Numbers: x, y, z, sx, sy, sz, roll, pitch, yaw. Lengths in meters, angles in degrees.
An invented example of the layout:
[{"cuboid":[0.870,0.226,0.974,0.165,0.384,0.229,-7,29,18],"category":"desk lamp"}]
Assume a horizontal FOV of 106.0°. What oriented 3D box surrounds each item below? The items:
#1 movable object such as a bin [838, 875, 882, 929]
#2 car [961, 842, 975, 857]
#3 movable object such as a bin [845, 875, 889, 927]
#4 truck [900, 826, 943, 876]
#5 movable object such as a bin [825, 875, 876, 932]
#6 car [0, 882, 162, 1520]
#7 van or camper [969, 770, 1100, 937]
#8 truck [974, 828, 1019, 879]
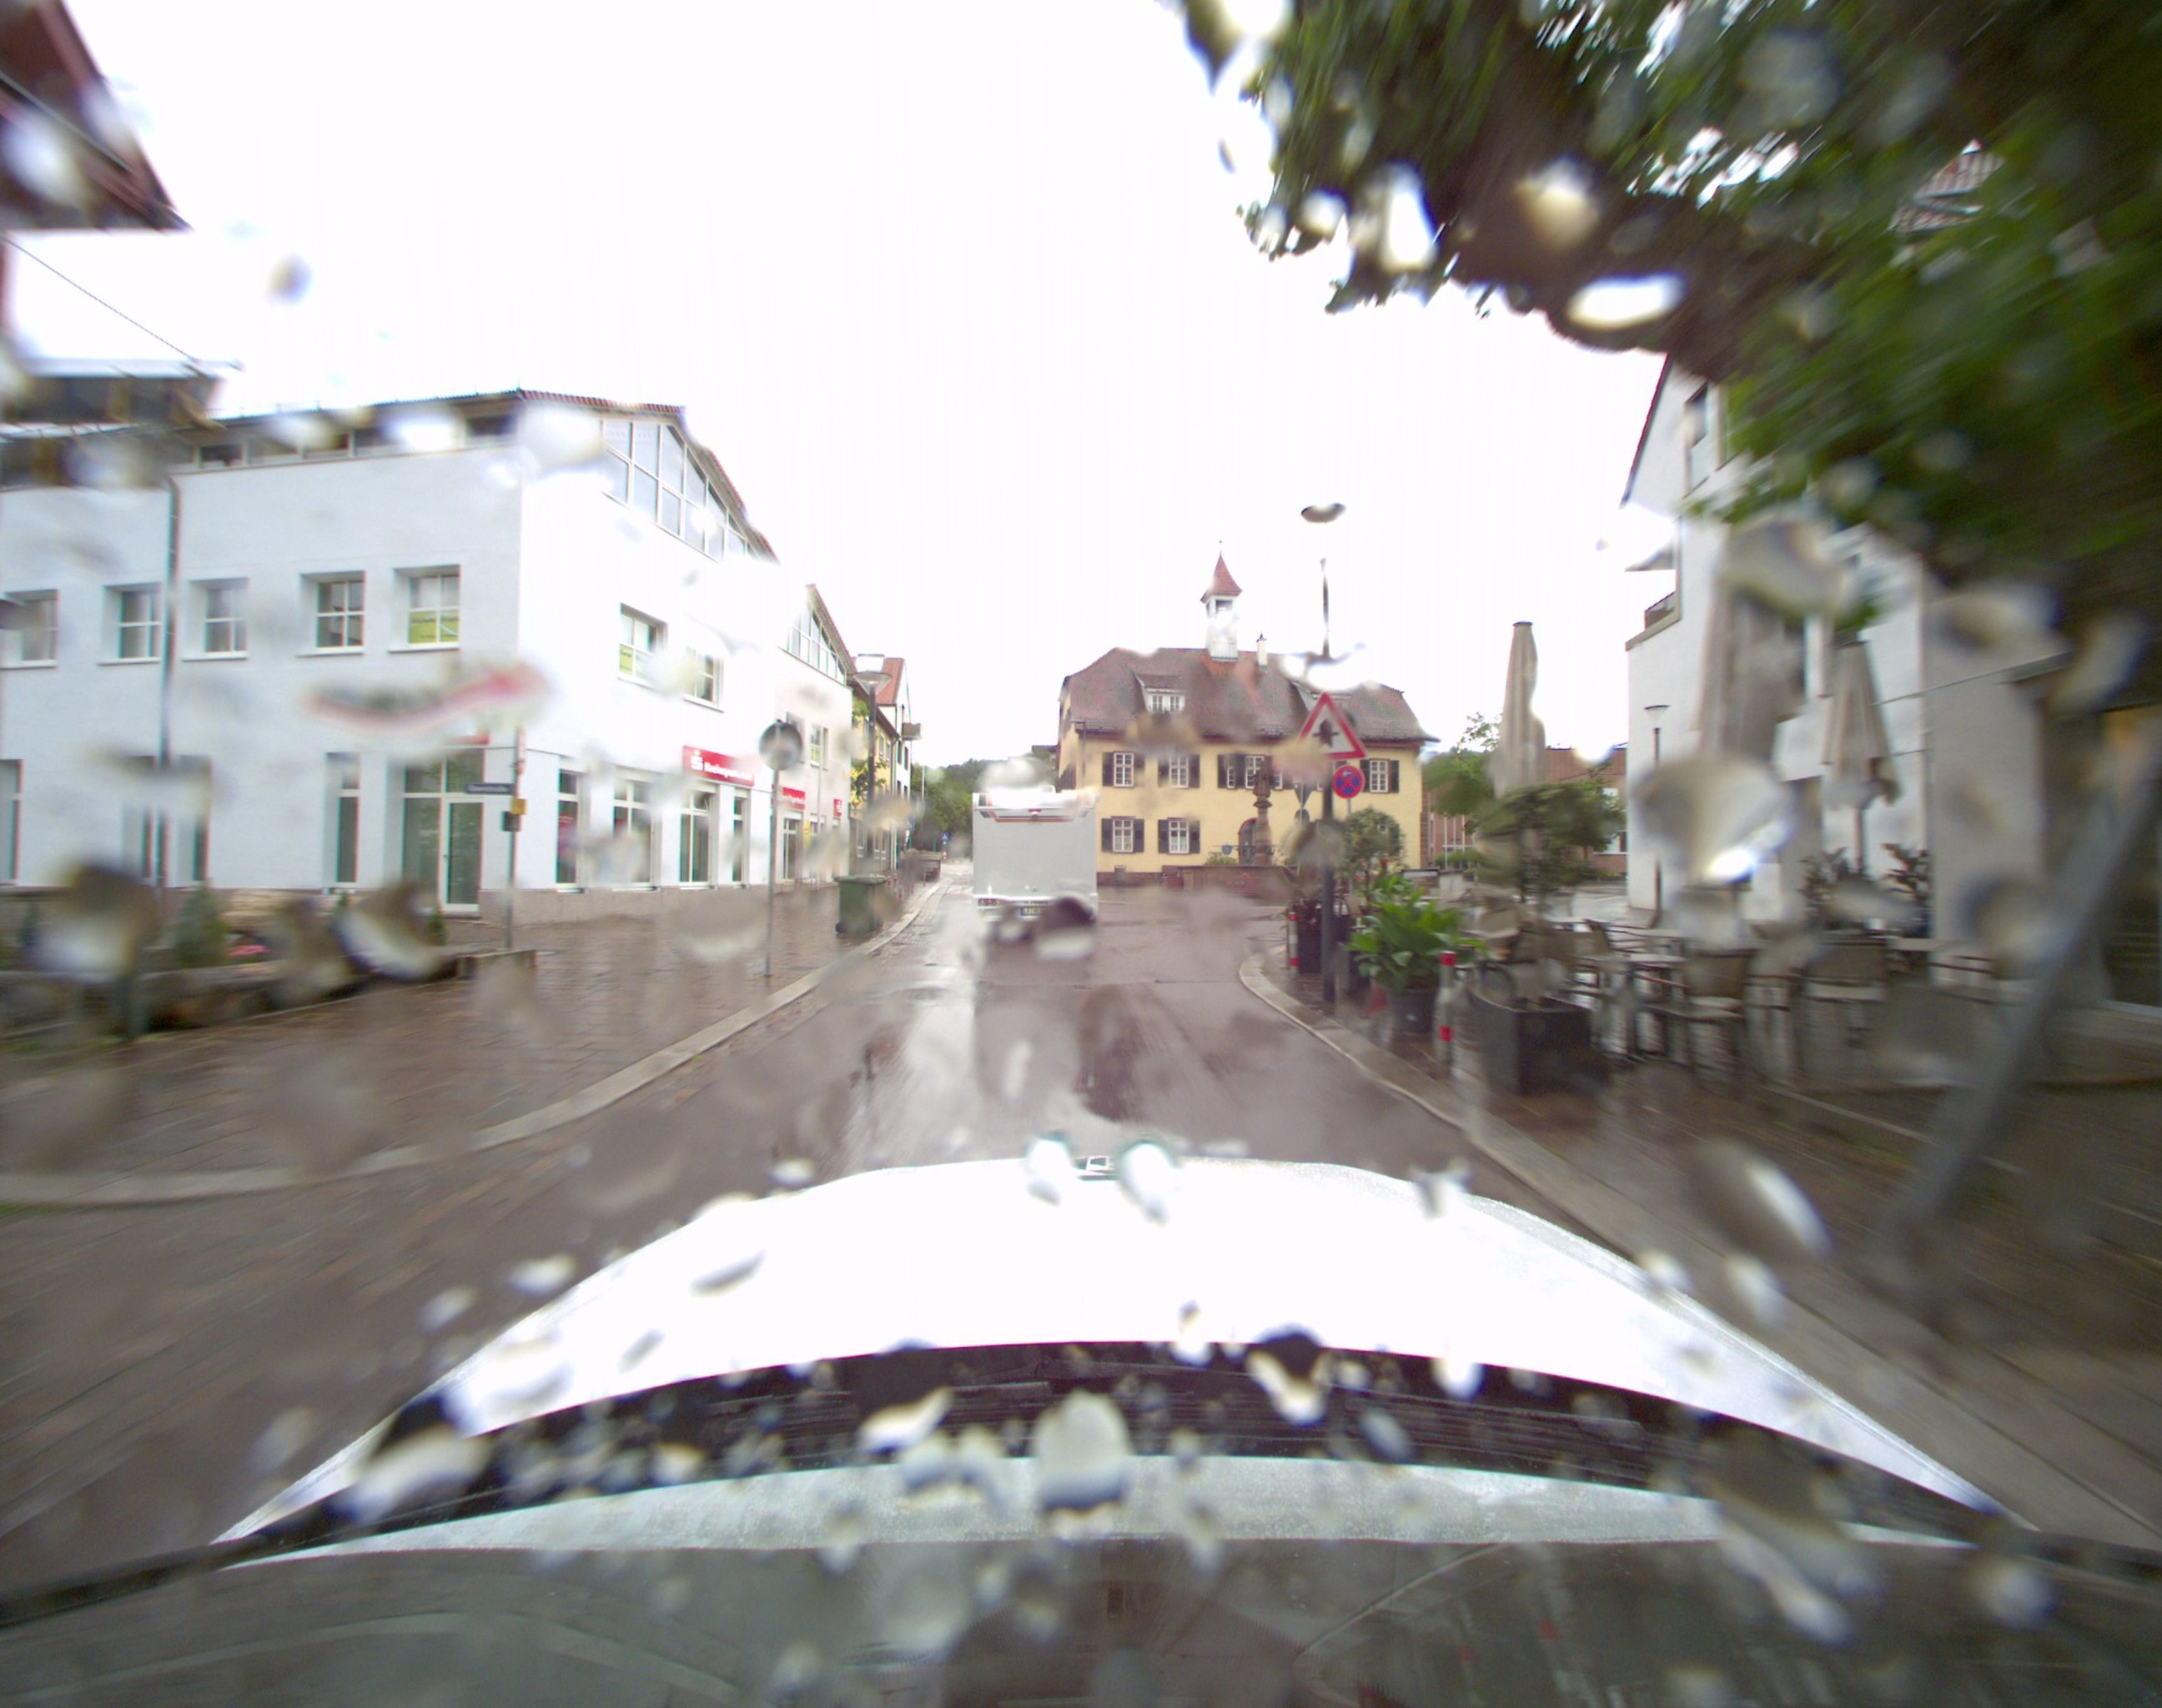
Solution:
[{"cuboid":[-4.378,0.949,16.178,0.764,1.051,0.522,0,-2,-6],"category":"movable object such as a bin"},{"cuboid":[-16.951,-0.687,121.901,1.993,2.014,3.988,0,-2,-8],"category":"car"},{"cuboid":[-4.465,0.975,17.035,0.764,1.051,0.522,2,-2,-6],"category":"movable object such as a bin"},{"cuboid":[-9.336,-0.070,47.963,2.280,2.758,5.550,0,-2,-9],"category":"truck"},{"cuboid":[-4.381,0.930,15.549,0.817,1.051,0.698,0,-2,-6],"category":"movable object such as a bin"},{"cuboid":[-3.428,0.804,0.177,1.990,1.494,3.994,1,0,-4],"category":"car"},{"cuboid":[-1.167,0.085,17.567,2.323,2.919,6.377,0,-2,-6],"category":"van or camper"},{"cuboid":[-5.350,0.063,50.539,2.461,2.939,6.177,0,-2,-9],"category":"truck"}]
